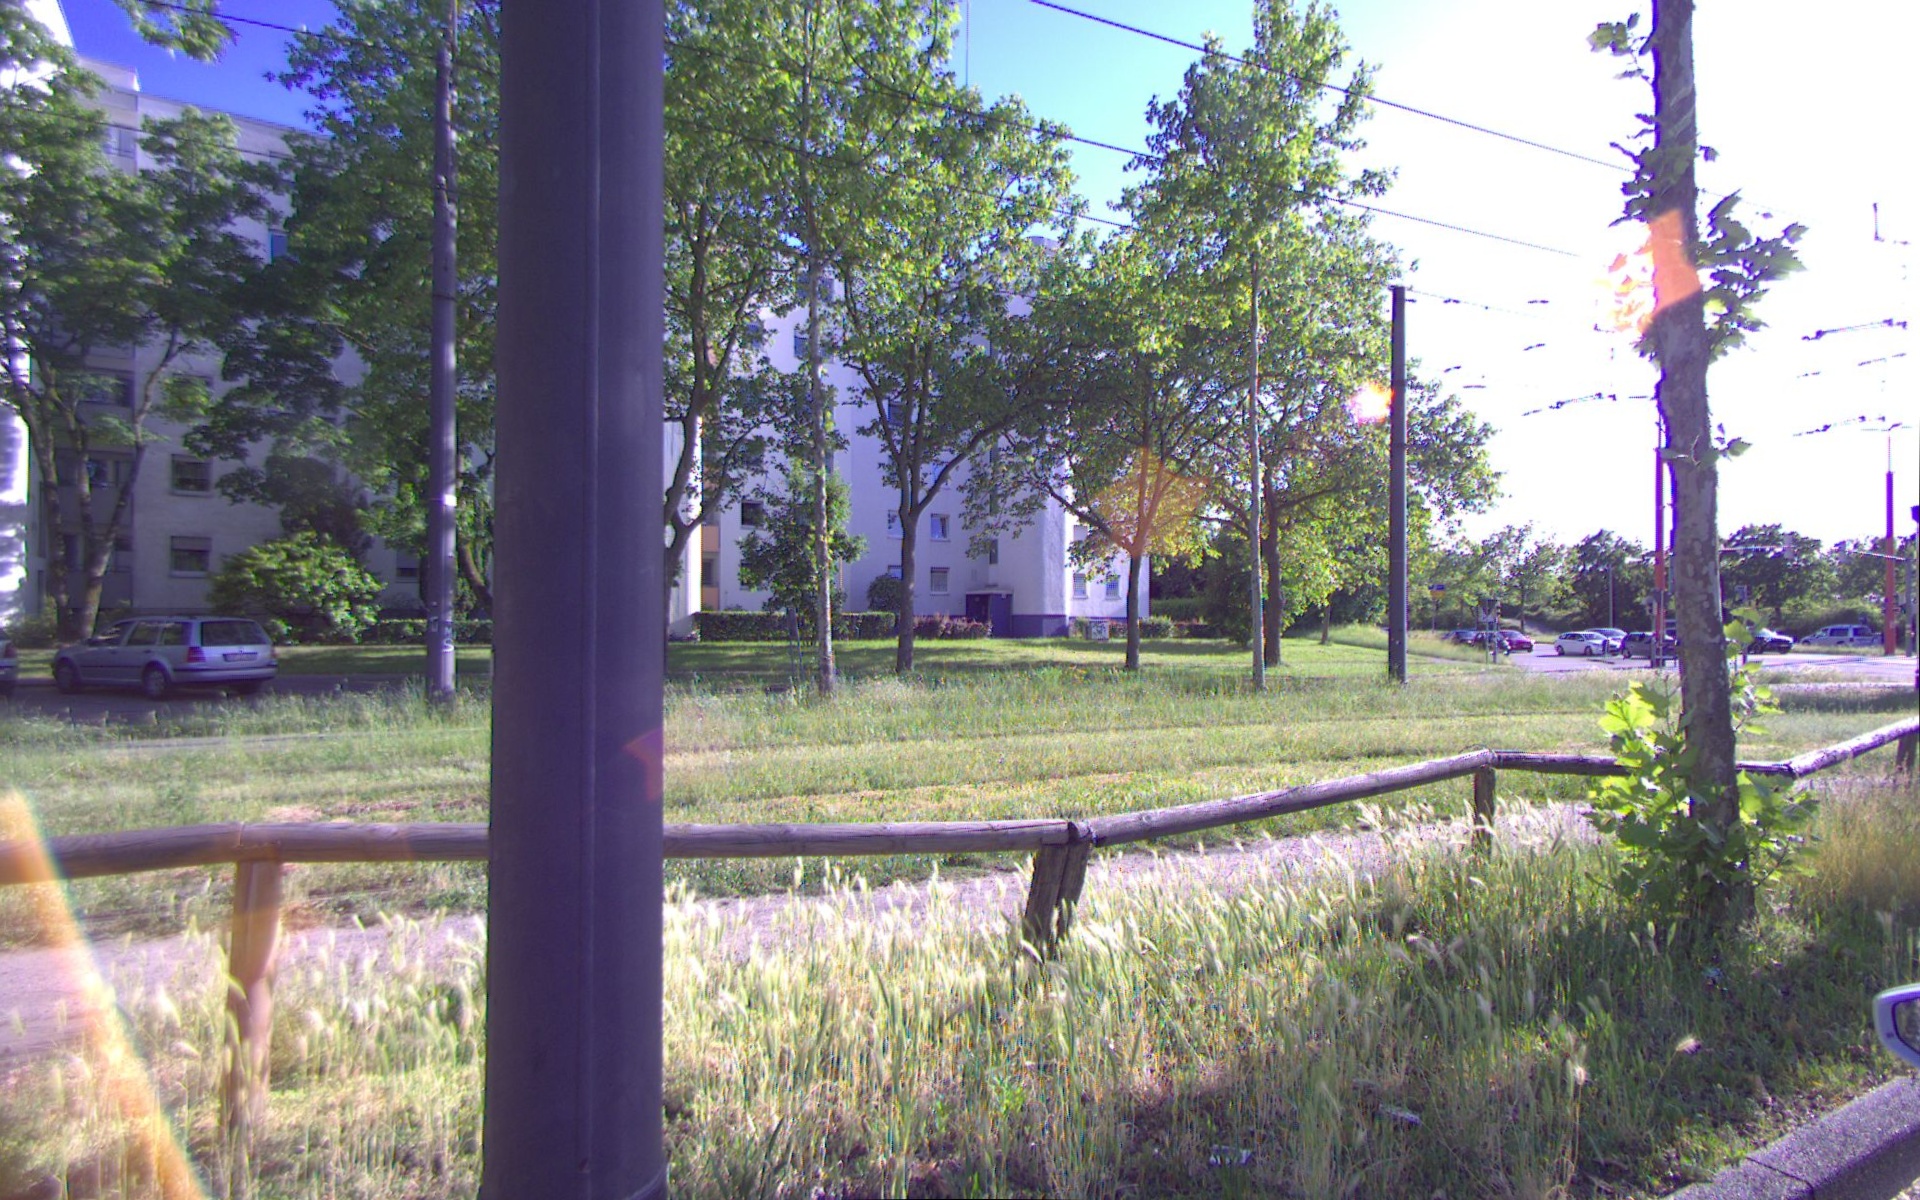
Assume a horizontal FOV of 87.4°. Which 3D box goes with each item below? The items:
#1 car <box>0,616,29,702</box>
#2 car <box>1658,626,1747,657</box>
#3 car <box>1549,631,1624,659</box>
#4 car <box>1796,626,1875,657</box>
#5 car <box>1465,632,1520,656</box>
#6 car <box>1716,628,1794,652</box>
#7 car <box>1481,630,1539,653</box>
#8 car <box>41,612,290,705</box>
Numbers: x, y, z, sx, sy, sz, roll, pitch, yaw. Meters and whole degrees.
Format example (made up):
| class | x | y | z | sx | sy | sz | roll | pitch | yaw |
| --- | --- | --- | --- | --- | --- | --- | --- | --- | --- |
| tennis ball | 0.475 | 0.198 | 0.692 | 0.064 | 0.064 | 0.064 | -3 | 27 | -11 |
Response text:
| class | x | y | z | sx | sy | sz | roll | pitch | yaw |
| --- | --- | --- | --- | --- | --- | --- | --- | --- | --- |
| car | -17.962 | 0.970 | 17.105 | 3.547 | 1.439 | 1.576 | 1 | 0 | 18 |
| car | 42.512 | 2.350 | 57.631 | 1.962 | 1.666 | 3.997 | 1 | -1 | -5 |
| car | 38.950 | 2.789 | 62.565 | 1.833 | 1.633 | 4.185 | 1 | -1 | -4 |
| car | 59.398 | 2.780 | 68.240 | 1.731 | 1.915 | 3.840 | 2 | 0 | -6 |
| car | 33.803 | 2.787 | 63.800 | 1.770 | 1.409 | 2.846 | 1 | -1 | -6 |
| car | 48.782 | 2.433 | 61.726 | 1.664 | 1.347 | 4.001 | 1 | -1 | 2 |
| car | 38.465 | 2.883 | 70.316 | 1.699 | 1.533 | 3.998 | 1 | -1 | -4 |
| car | -14.583 | 1.015 | 18.475 | 3.898 | 1.462 | 1.710 | 1 | 0 | 18 |
